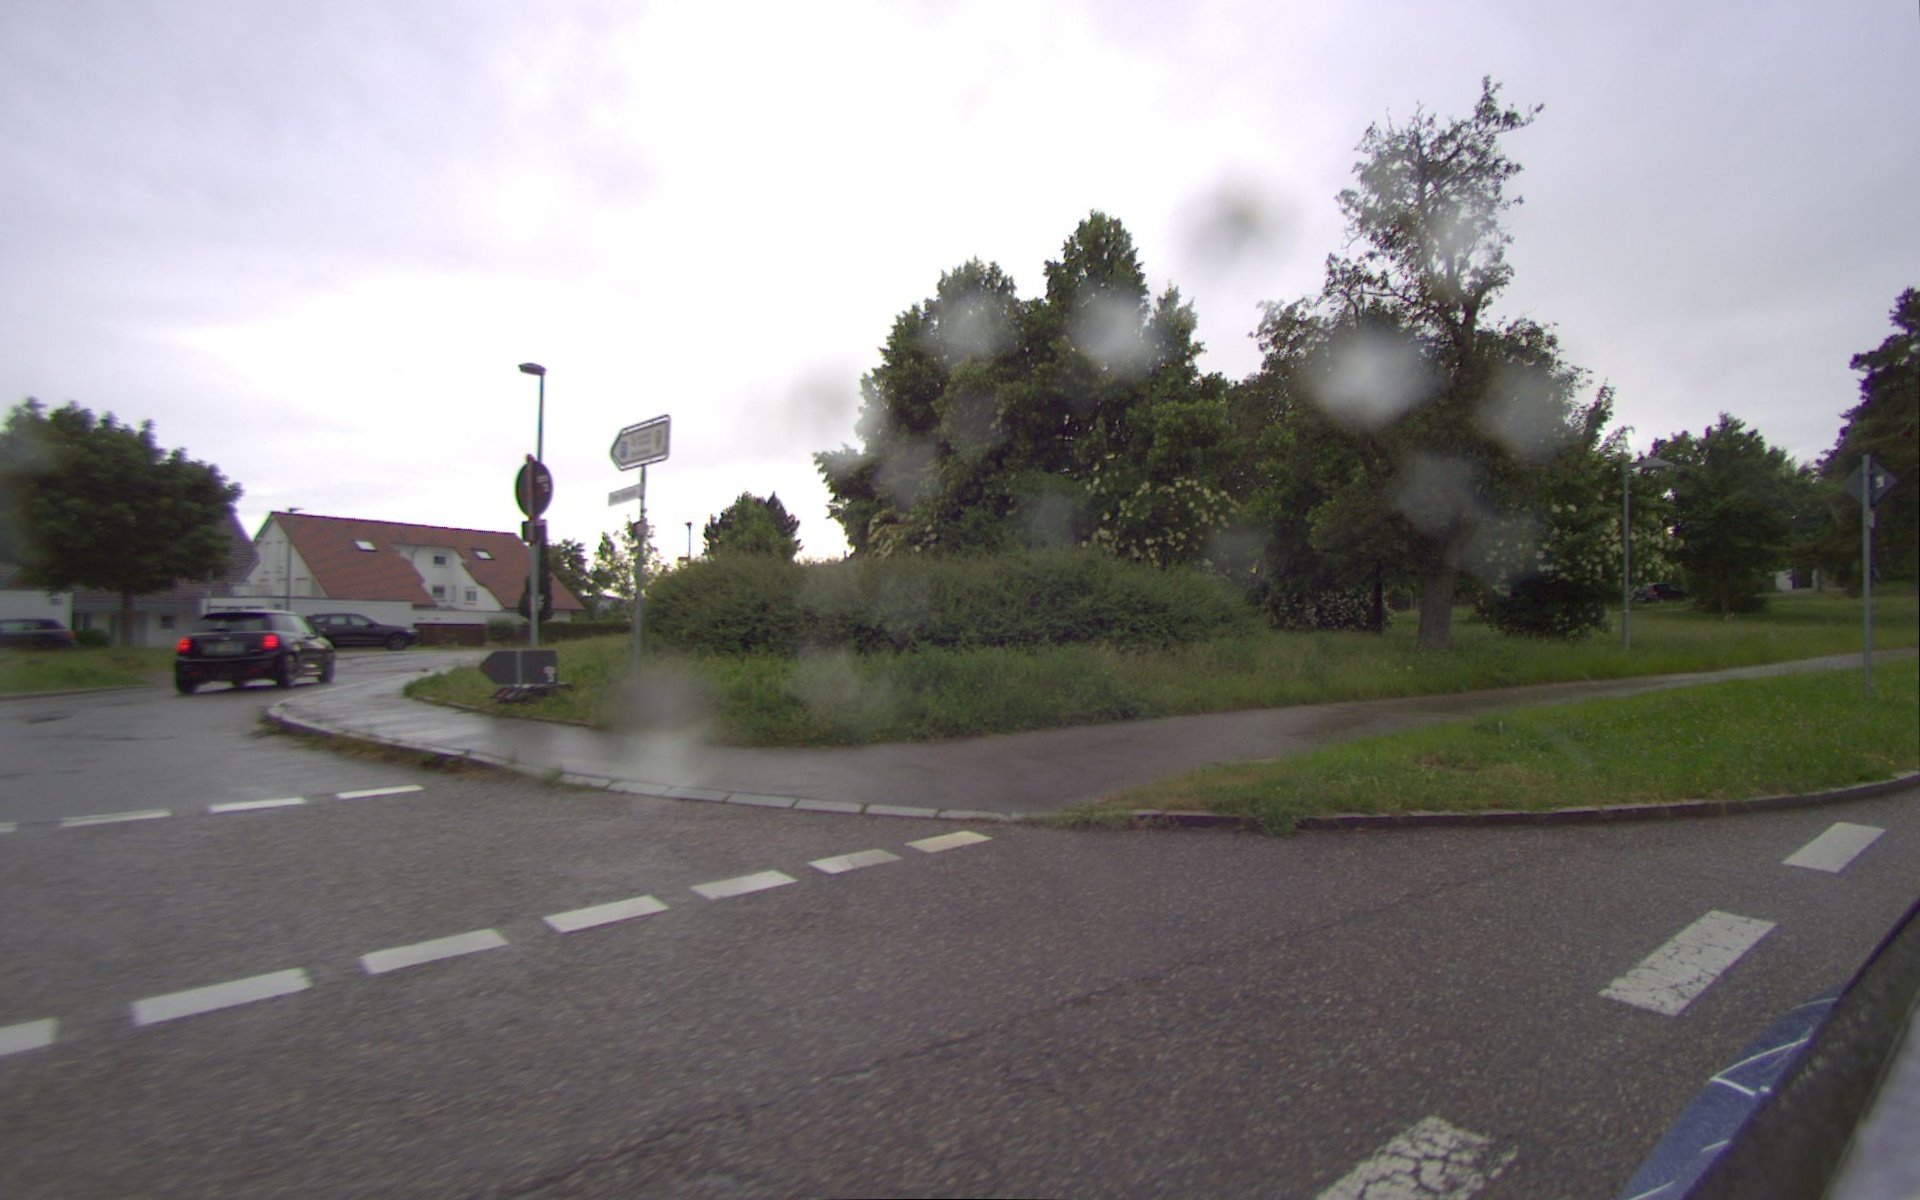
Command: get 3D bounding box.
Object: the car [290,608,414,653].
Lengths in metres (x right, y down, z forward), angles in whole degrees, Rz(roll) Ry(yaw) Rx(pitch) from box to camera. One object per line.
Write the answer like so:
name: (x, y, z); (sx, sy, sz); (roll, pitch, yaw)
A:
car: (-25.683, 1.302, 42.798); (4.378, 1.762, 2.000); (2, -1, -34)

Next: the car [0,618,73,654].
car: (-33.756, 1.285, 35.684); (1.449, 1.254, 3.489); (-3, -3, 35)

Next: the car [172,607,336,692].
car: (-12.784, 0.885, 18.550); (1.429, 1.373, 3.539); (-1, -2, -17)

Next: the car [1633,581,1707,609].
car: (45.506, -0.318, 64.837); (3.916, 1.673, 1.835); (-1, 0, -17)
